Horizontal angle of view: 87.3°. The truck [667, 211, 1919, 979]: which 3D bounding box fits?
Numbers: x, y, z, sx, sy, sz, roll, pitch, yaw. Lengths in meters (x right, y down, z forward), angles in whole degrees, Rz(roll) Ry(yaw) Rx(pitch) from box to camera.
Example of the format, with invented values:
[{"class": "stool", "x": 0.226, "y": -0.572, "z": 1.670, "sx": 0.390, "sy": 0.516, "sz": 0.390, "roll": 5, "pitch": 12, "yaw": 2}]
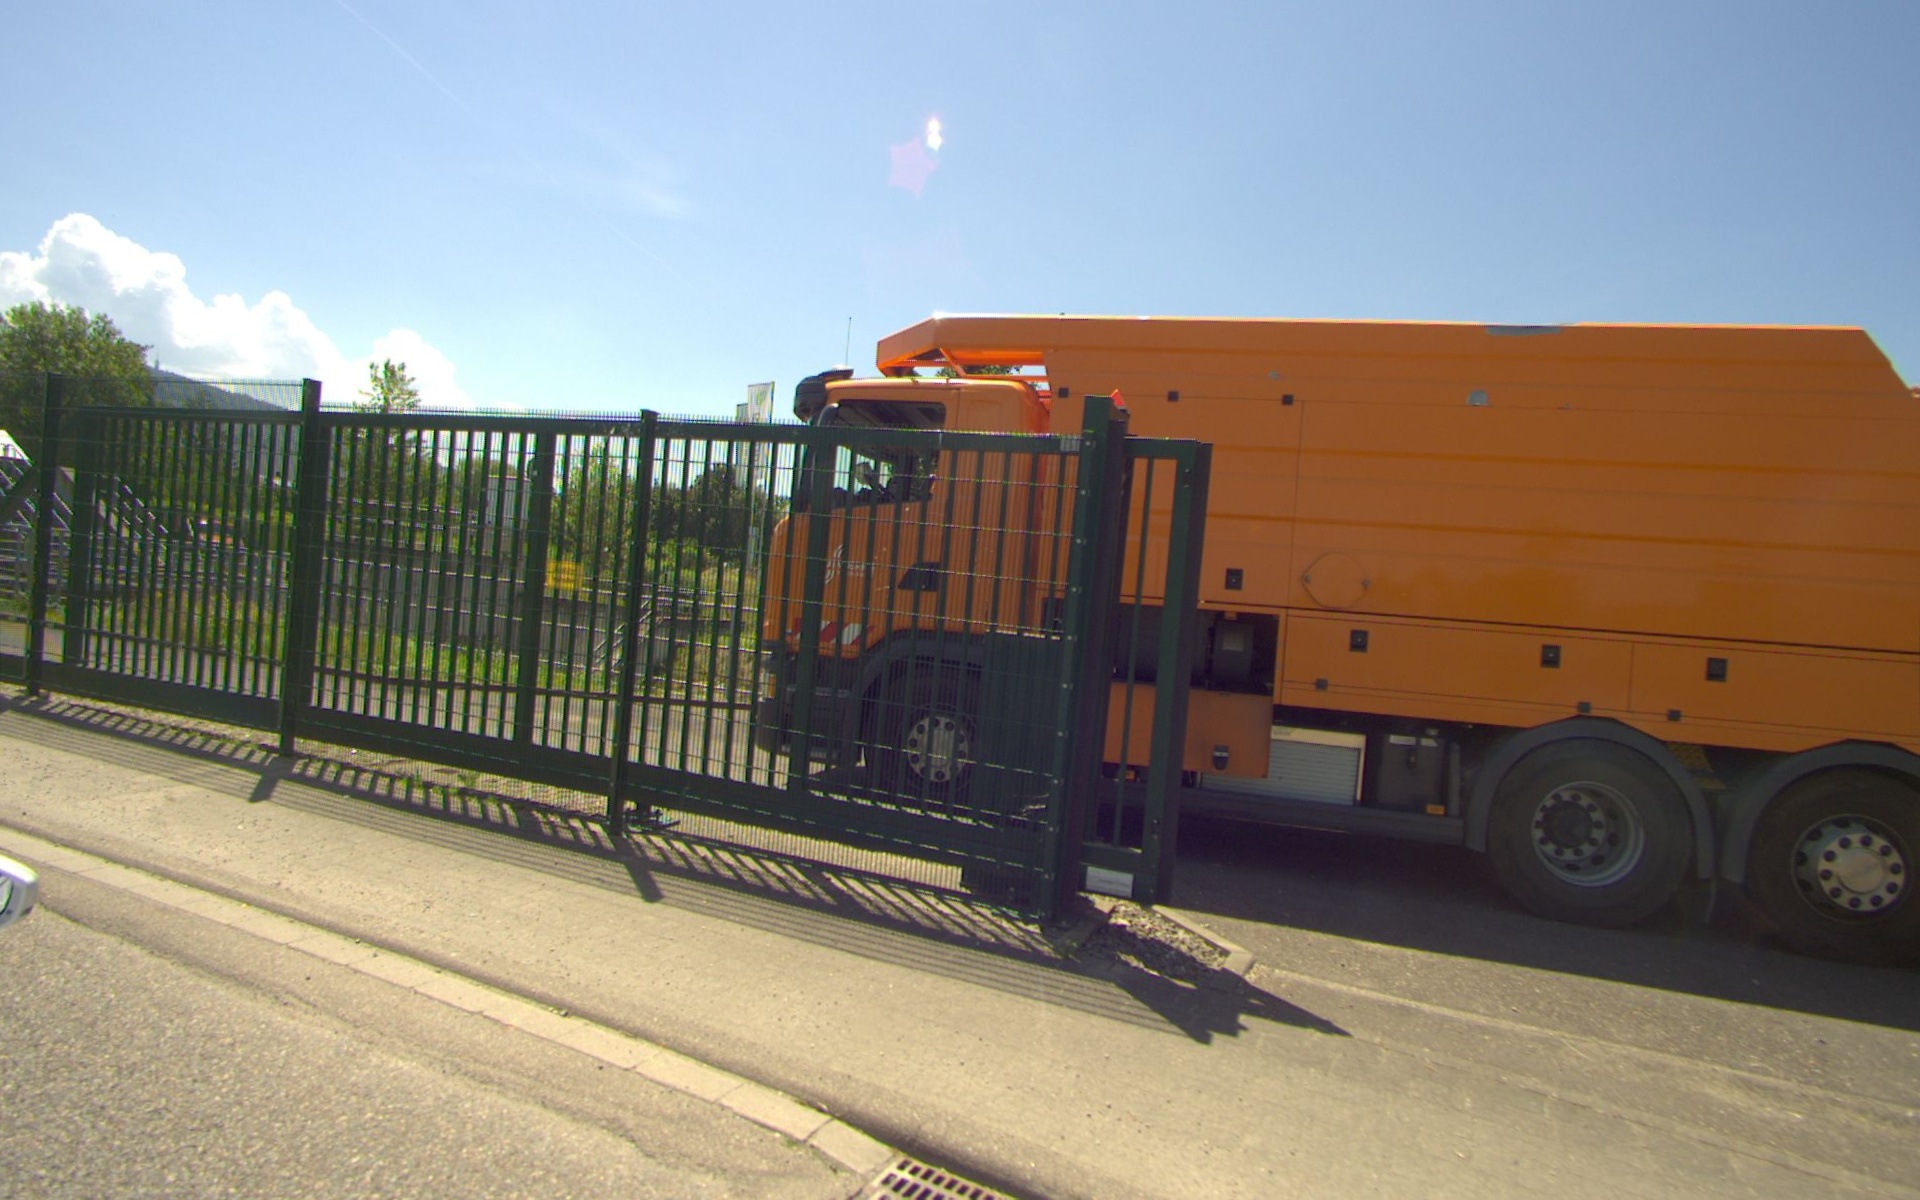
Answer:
[{"class": "truck", "x": 2.758, "y": -0.218, "z": 7.778, "sx": 8.447, "sy": 3.855, "sz": 4.164, "roll": 6, "pitch": 1, "yaw": 13}]
